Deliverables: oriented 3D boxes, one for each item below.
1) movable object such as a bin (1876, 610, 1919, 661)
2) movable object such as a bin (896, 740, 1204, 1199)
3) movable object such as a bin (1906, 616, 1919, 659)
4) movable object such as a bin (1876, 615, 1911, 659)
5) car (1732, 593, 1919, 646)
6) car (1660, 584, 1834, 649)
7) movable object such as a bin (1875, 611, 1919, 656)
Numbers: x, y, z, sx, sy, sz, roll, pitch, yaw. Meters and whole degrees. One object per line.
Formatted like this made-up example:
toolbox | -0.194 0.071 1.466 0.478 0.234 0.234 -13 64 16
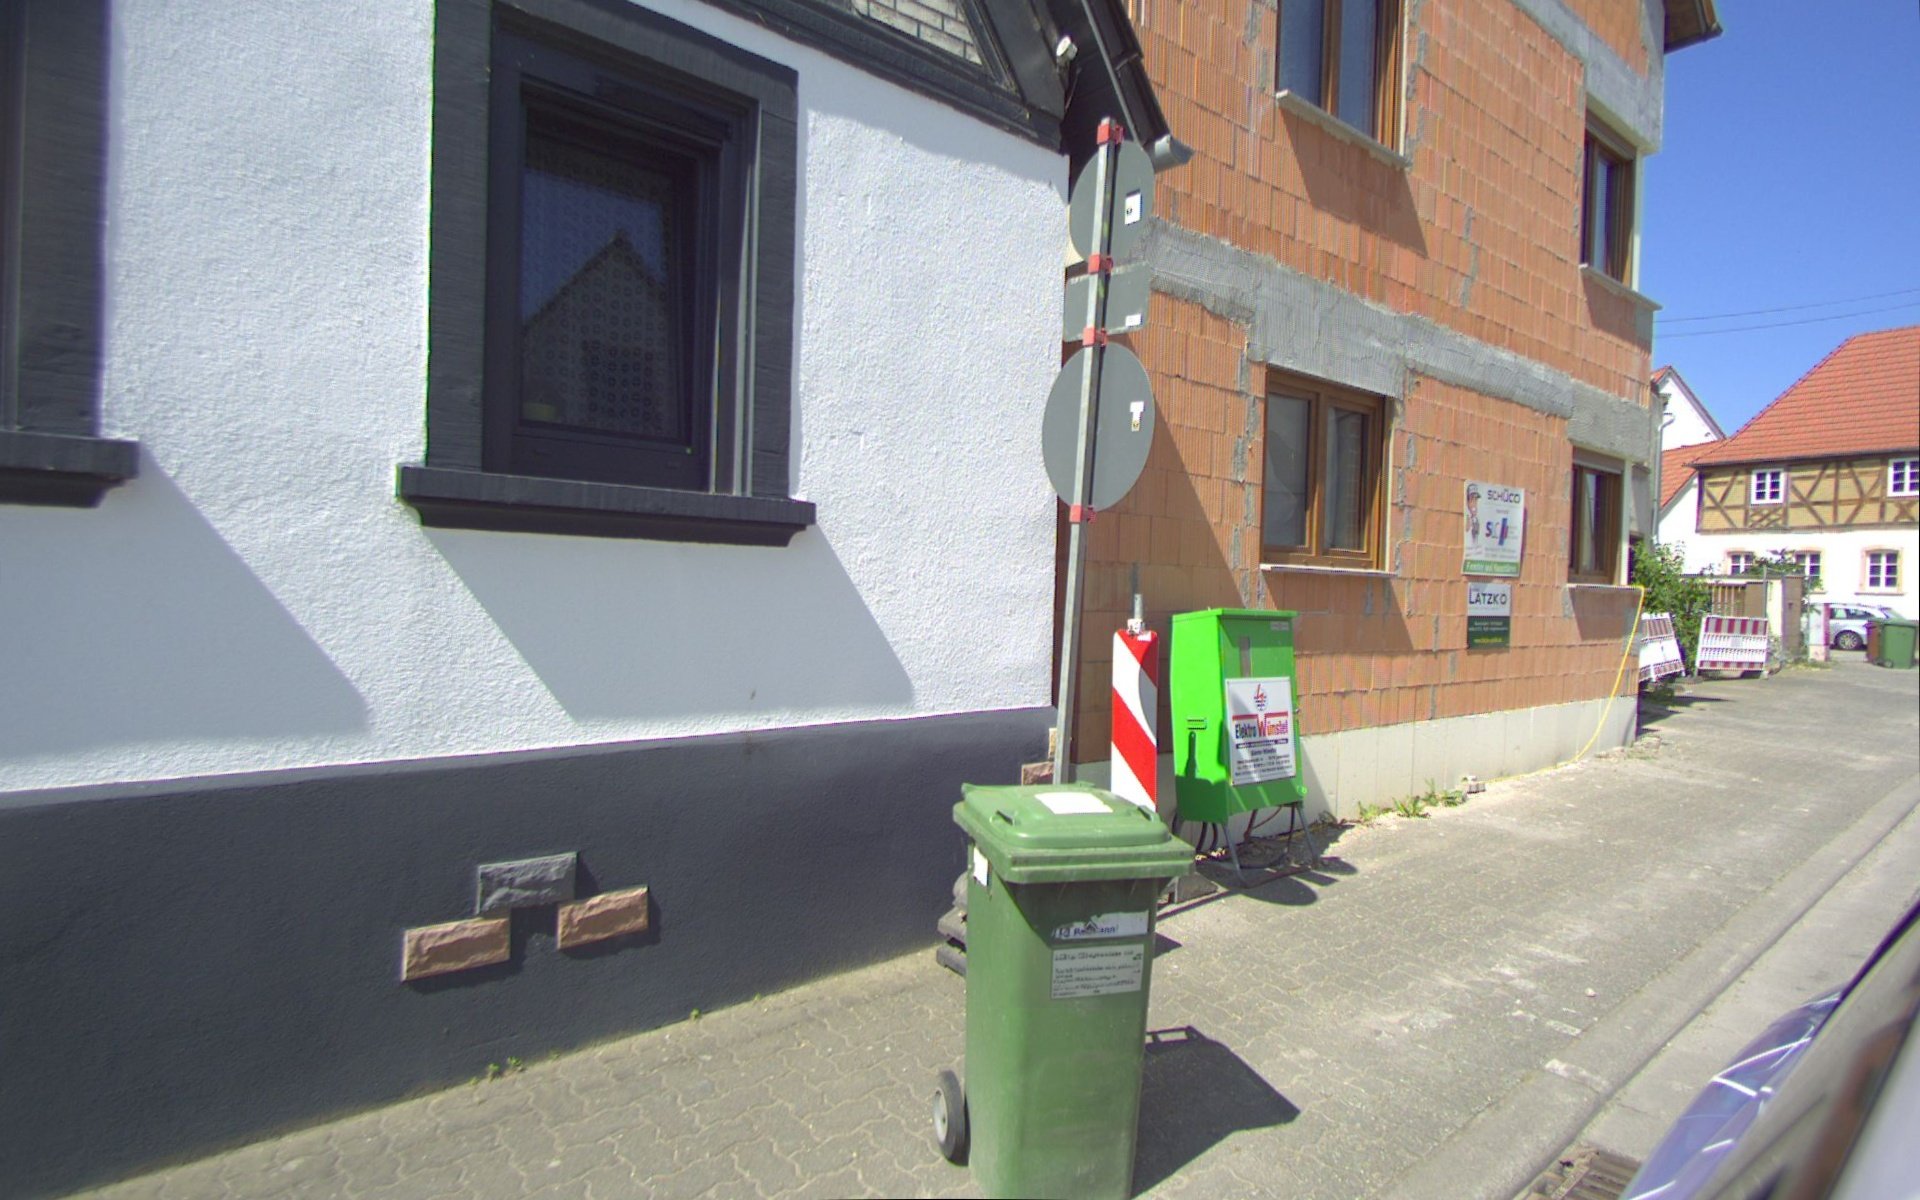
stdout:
movable object such as a bin | 20.903 0.788 22.346 0.752 1.085 0.668 2 1 18
movable object such as a bin | 0.196 0.857 2.465 0.540 0.925 0.541 1 1 -22
movable object such as a bin | 21.955 0.864 23.083 0.453 0.961 0.446 1 1 -31
movable object such as a bin | 21.610 0.851 23.440 0.486 0.982 0.467 1 1 -32
car | 28.619 0.586 33.261 1.959 1.470 4.775 1 2 -28
car | 20.745 0.438 26.678 4.207 1.547 1.820 1 1 -24
movable object such as a bin | 23.764 0.837 25.619 0.741 1.095 0.722 1 1 -35
